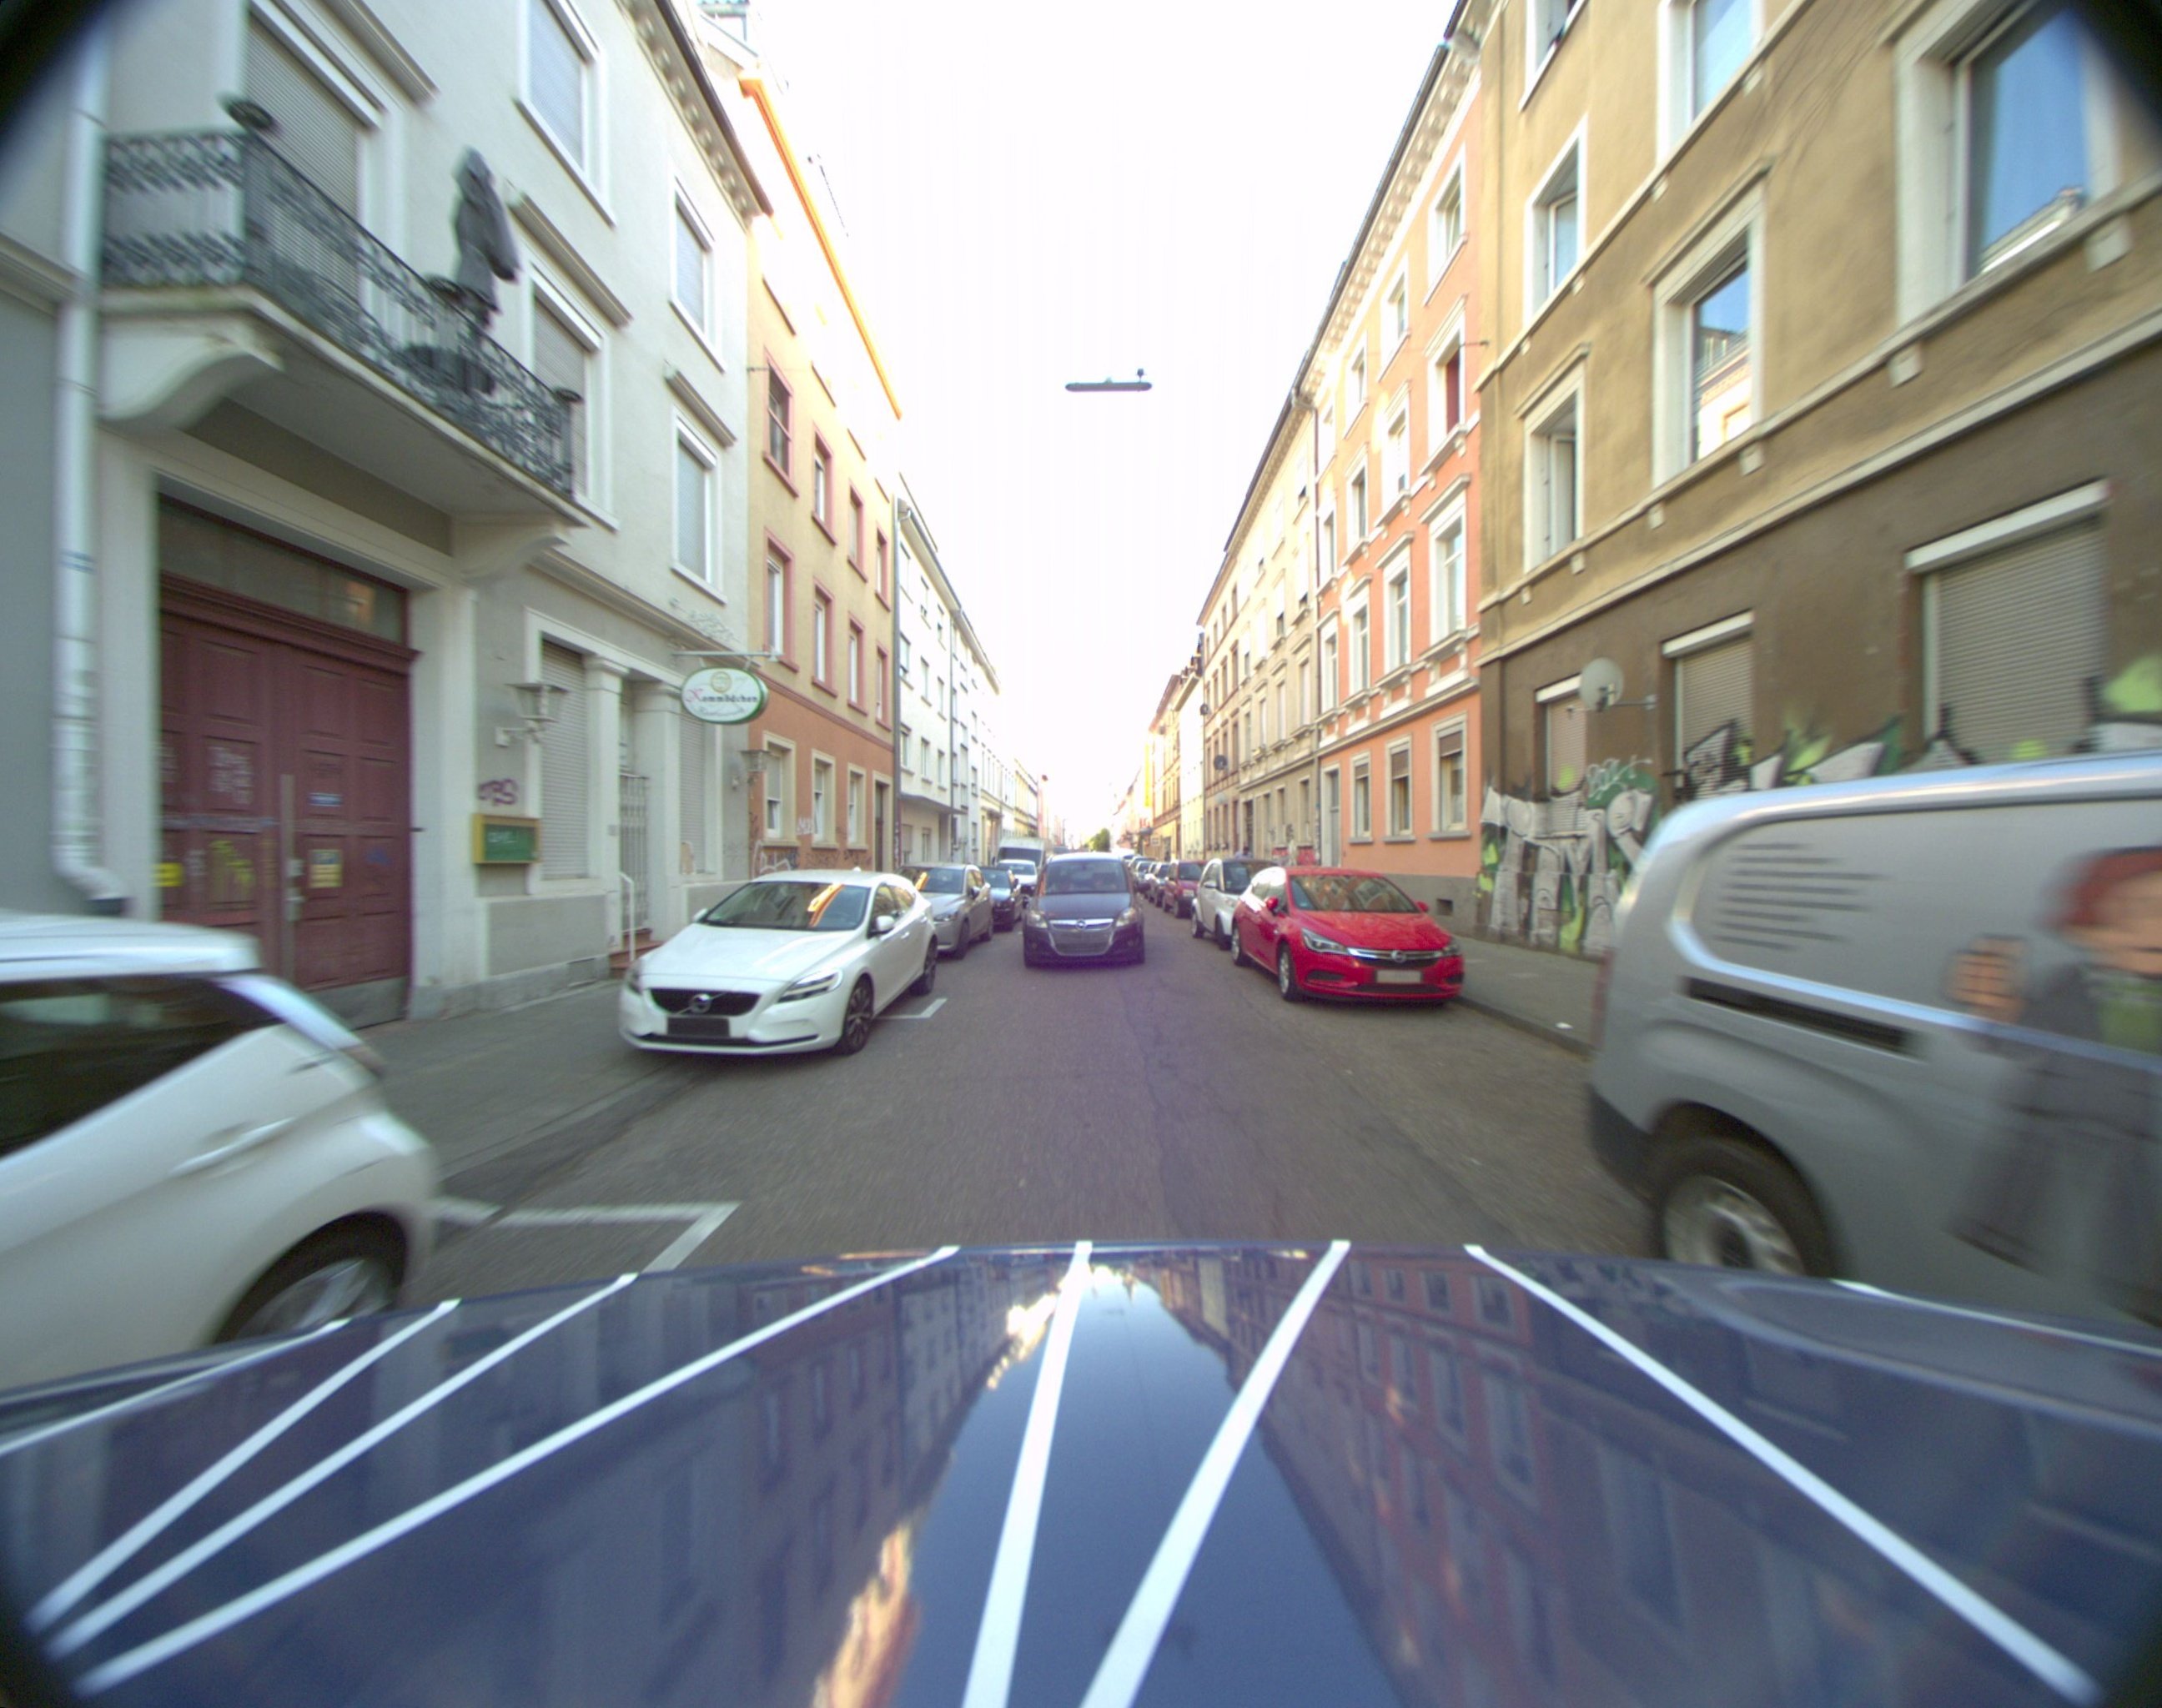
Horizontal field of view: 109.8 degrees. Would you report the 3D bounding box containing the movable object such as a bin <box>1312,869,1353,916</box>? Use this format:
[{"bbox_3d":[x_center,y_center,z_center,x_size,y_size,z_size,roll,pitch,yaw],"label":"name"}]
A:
[{"bbox_3d":[5.975,0.914,18.080,0.779,1.043,0.662,-3,0,9],"label":"movable object such as a bin"}]

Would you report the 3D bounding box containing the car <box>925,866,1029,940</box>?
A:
[{"bbox_3d":[-2.285,1.042,17.828,1.772,1.386,4.494,-2,0,0],"label":"car"}]

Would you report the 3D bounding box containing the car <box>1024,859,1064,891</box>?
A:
[{"bbox_3d":[-1.770,0.986,37.564,1.683,1.434,3.860,-2,0,1],"label":"car"}]

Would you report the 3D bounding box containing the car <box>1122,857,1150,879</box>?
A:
[{"bbox_3d":[3.696,0.915,51.400,1.683,1.407,3.860,0,0,1],"label":"car"}]

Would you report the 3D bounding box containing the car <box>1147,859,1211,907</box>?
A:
[{"bbox_3d":[3.195,0.905,25.513,1.683,1.454,4.313,0,0,1],"label":"car"}]

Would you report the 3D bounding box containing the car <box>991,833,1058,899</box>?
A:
[{"bbox_3d":[-2.289,0.463,32.559,2.049,2.498,6.024,-2,0,3],"label":"car"}]

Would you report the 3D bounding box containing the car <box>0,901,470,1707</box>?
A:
[{"bbox_3d":[-2.855,0.971,0.608,1.640,1.577,3.788,-2,0,-1],"label":"car"}]

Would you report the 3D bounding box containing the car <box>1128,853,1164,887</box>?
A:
[{"bbox_3d":[3.418,0.814,40.666,1.683,1.674,3.860,0,0,1],"label":"car"}]

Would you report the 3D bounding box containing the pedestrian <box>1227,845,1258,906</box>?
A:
[{"bbox_3d":[4.918,0.648,23.179,0.790,1.820,0.594,-2,1,1],"label":"pedestrian"}]

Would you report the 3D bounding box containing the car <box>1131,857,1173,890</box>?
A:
[{"bbox_3d":[3.291,0.894,35.855,1.683,1.454,3.860,0,0,1],"label":"car"}]

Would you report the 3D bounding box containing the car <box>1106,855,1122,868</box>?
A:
[{"bbox_3d":[3.615,0.859,83.774,1.683,1.381,3.860,0,0,1],"label":"car"}]

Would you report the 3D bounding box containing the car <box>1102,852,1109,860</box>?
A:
[{"bbox_3d":[6.176,0.457,189.913,1.683,1.851,4.159,-2,0,1],"label":"car"}]

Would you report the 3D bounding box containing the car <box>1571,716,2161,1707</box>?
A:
[{"bbox_3d":[2.684,0.744,0.582,1.683,1.899,4.519,2,0,1],"label":"car"}]

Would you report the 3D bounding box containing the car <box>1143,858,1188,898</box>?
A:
[{"bbox_3d":[3.363,0.915,30.500,1.682,1.454,3.861,0,0,5],"label":"car"}]

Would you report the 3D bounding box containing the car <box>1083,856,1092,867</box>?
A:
[{"bbox_3d":[1.251,1.462,147.943,1.683,2.077,4.159,-2,0,1],"label":"car"}]

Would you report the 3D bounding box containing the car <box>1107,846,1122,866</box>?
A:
[{"bbox_3d":[3.959,0.228,90.751,1.683,2.352,4.098,0,0,1],"label":"car"}]

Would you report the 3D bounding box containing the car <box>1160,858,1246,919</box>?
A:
[{"bbox_3d":[3.234,0.879,20.724,1.683,1.483,3.611,0,0,-1],"label":"car"}]

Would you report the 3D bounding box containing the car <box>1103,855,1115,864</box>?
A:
[{"bbox_3d":[4.266,0.835,115.966,1.683,1.381,3.860,0,0,1],"label":"car"}]

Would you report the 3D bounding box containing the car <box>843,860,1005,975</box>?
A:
[{"bbox_3d":[-2.509,0.947,13.197,1.683,1.588,4.191,-2,0,3],"label":"car"}]

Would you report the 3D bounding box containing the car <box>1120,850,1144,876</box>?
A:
[{"bbox_3d":[3.854,0.668,58.117,1.751,1.880,4.772,0,0,3],"label":"car"}]

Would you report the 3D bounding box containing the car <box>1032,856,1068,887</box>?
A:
[{"bbox_3d":[-1.678,0.930,42.391,1.683,1.556,3.860,-2,0,1],"label":"car"}]

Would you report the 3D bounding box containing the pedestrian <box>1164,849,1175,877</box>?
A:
[{"bbox_3d":[5.814,0.605,49.753,0.626,1.820,0.594,-2,1,2],"label":"pedestrian"}]

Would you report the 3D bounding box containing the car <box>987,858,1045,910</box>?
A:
[{"bbox_3d":[-2.116,0.942,25.643,1.683,1.550,3.859,-2,0,-2],"label":"car"}]

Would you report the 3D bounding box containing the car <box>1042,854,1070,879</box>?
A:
[{"bbox_3d":[-1.699,0.857,52.839,1.683,1.625,3.860,-2,0,1],"label":"car"}]

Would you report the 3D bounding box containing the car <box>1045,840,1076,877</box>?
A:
[{"bbox_3d":[-1.506,0.332,59.007,2.050,2.662,6.185,-2,0,1],"label":"car"}]

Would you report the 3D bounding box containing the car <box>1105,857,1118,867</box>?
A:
[{"bbox_3d":[4.203,1.122,105.766,1.683,1.381,3.860,0,0,1],"label":"car"}]

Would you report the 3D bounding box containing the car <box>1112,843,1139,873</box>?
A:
[{"bbox_3d":[4.019,0.332,69.434,2.094,2.576,5.842,0,0,0],"label":"car"}]

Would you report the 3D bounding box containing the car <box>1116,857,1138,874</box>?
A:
[{"bbox_3d":[3.798,0.932,63.397,1.683,1.381,3.860,0,0,1],"label":"car"}]

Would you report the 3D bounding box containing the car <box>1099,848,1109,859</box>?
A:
[{"bbox_3d":[6.677,-0.194,220.000,2.564,3.029,7.061,-2,0,1],"label":"car"}]

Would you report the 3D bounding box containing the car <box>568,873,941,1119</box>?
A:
[{"bbox_3d":[-2.590,1.011,7.234,1.683,1.501,4.190,-2,0,0],"label":"car"}]

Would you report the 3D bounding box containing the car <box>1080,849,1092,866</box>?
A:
[{"bbox_3d":[1.046,0.732,154.755,2.437,3.404,5.543,-2,0,1],"label":"car"}]

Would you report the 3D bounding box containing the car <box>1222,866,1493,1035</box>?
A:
[{"bbox_3d":[2.968,0.938,9.193,1.683,1.465,4.202,2,0,0],"label":"car"}]

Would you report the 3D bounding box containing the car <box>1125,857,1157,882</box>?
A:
[{"bbox_3d":[3.628,0.911,46.360,1.683,1.448,3.860,0,0,1],"label":"car"}]

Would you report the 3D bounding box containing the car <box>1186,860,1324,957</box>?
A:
[{"bbox_3d":[3.016,0.890,13.759,1.684,1.540,2.959,1,0,-3],"label":"car"}]

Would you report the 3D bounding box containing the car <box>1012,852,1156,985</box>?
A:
[{"bbox_3d":[0.056,0.825,12.353,1.798,1.652,5.184,-2,0,0],"label":"car"}]
